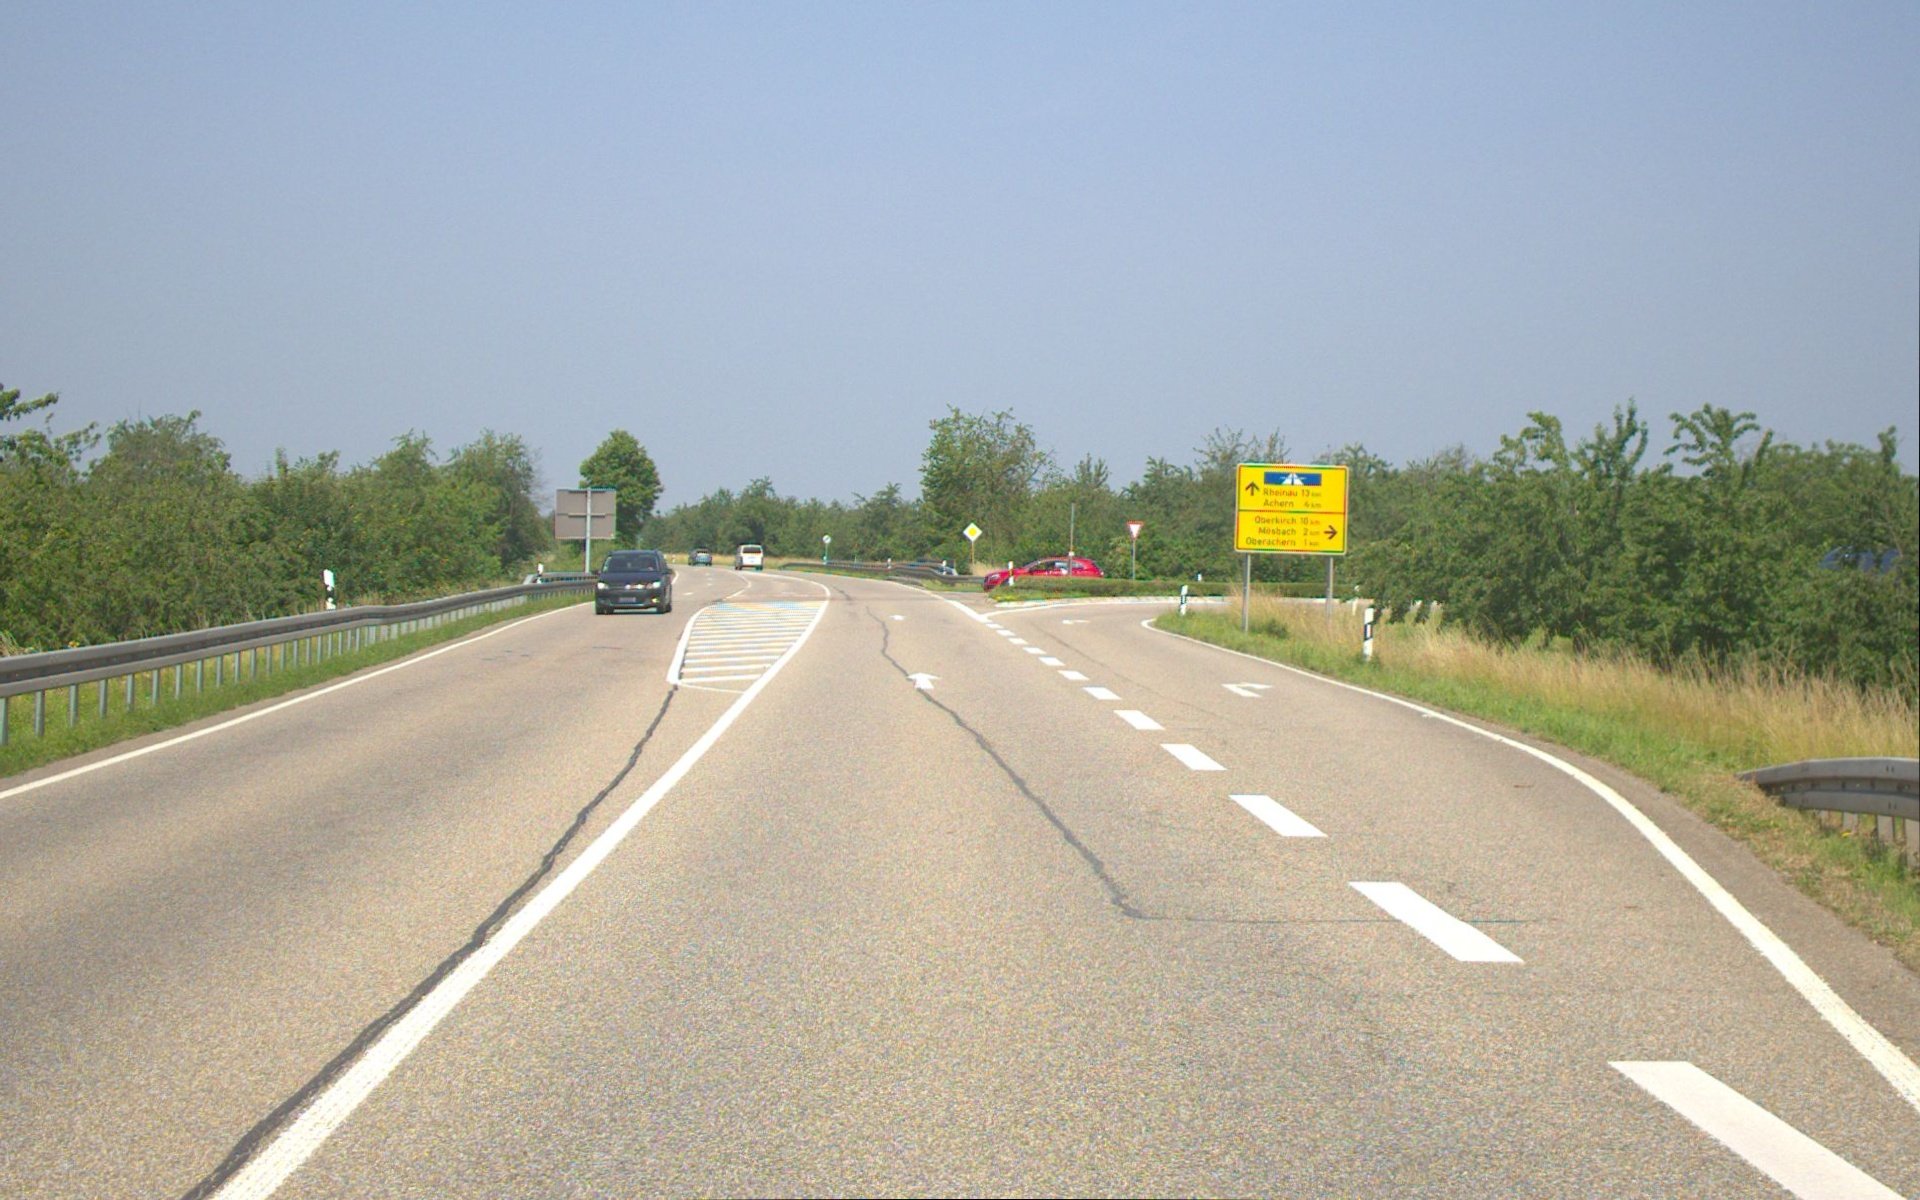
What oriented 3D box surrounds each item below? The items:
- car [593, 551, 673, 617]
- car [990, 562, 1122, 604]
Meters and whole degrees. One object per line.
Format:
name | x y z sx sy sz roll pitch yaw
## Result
car | -8.378 -0.411 88.416 1.803 1.632 4.810 0 0 -3
car | 3.366 -0.603 120.822 4.480 1.444 1.822 0 0 -3
